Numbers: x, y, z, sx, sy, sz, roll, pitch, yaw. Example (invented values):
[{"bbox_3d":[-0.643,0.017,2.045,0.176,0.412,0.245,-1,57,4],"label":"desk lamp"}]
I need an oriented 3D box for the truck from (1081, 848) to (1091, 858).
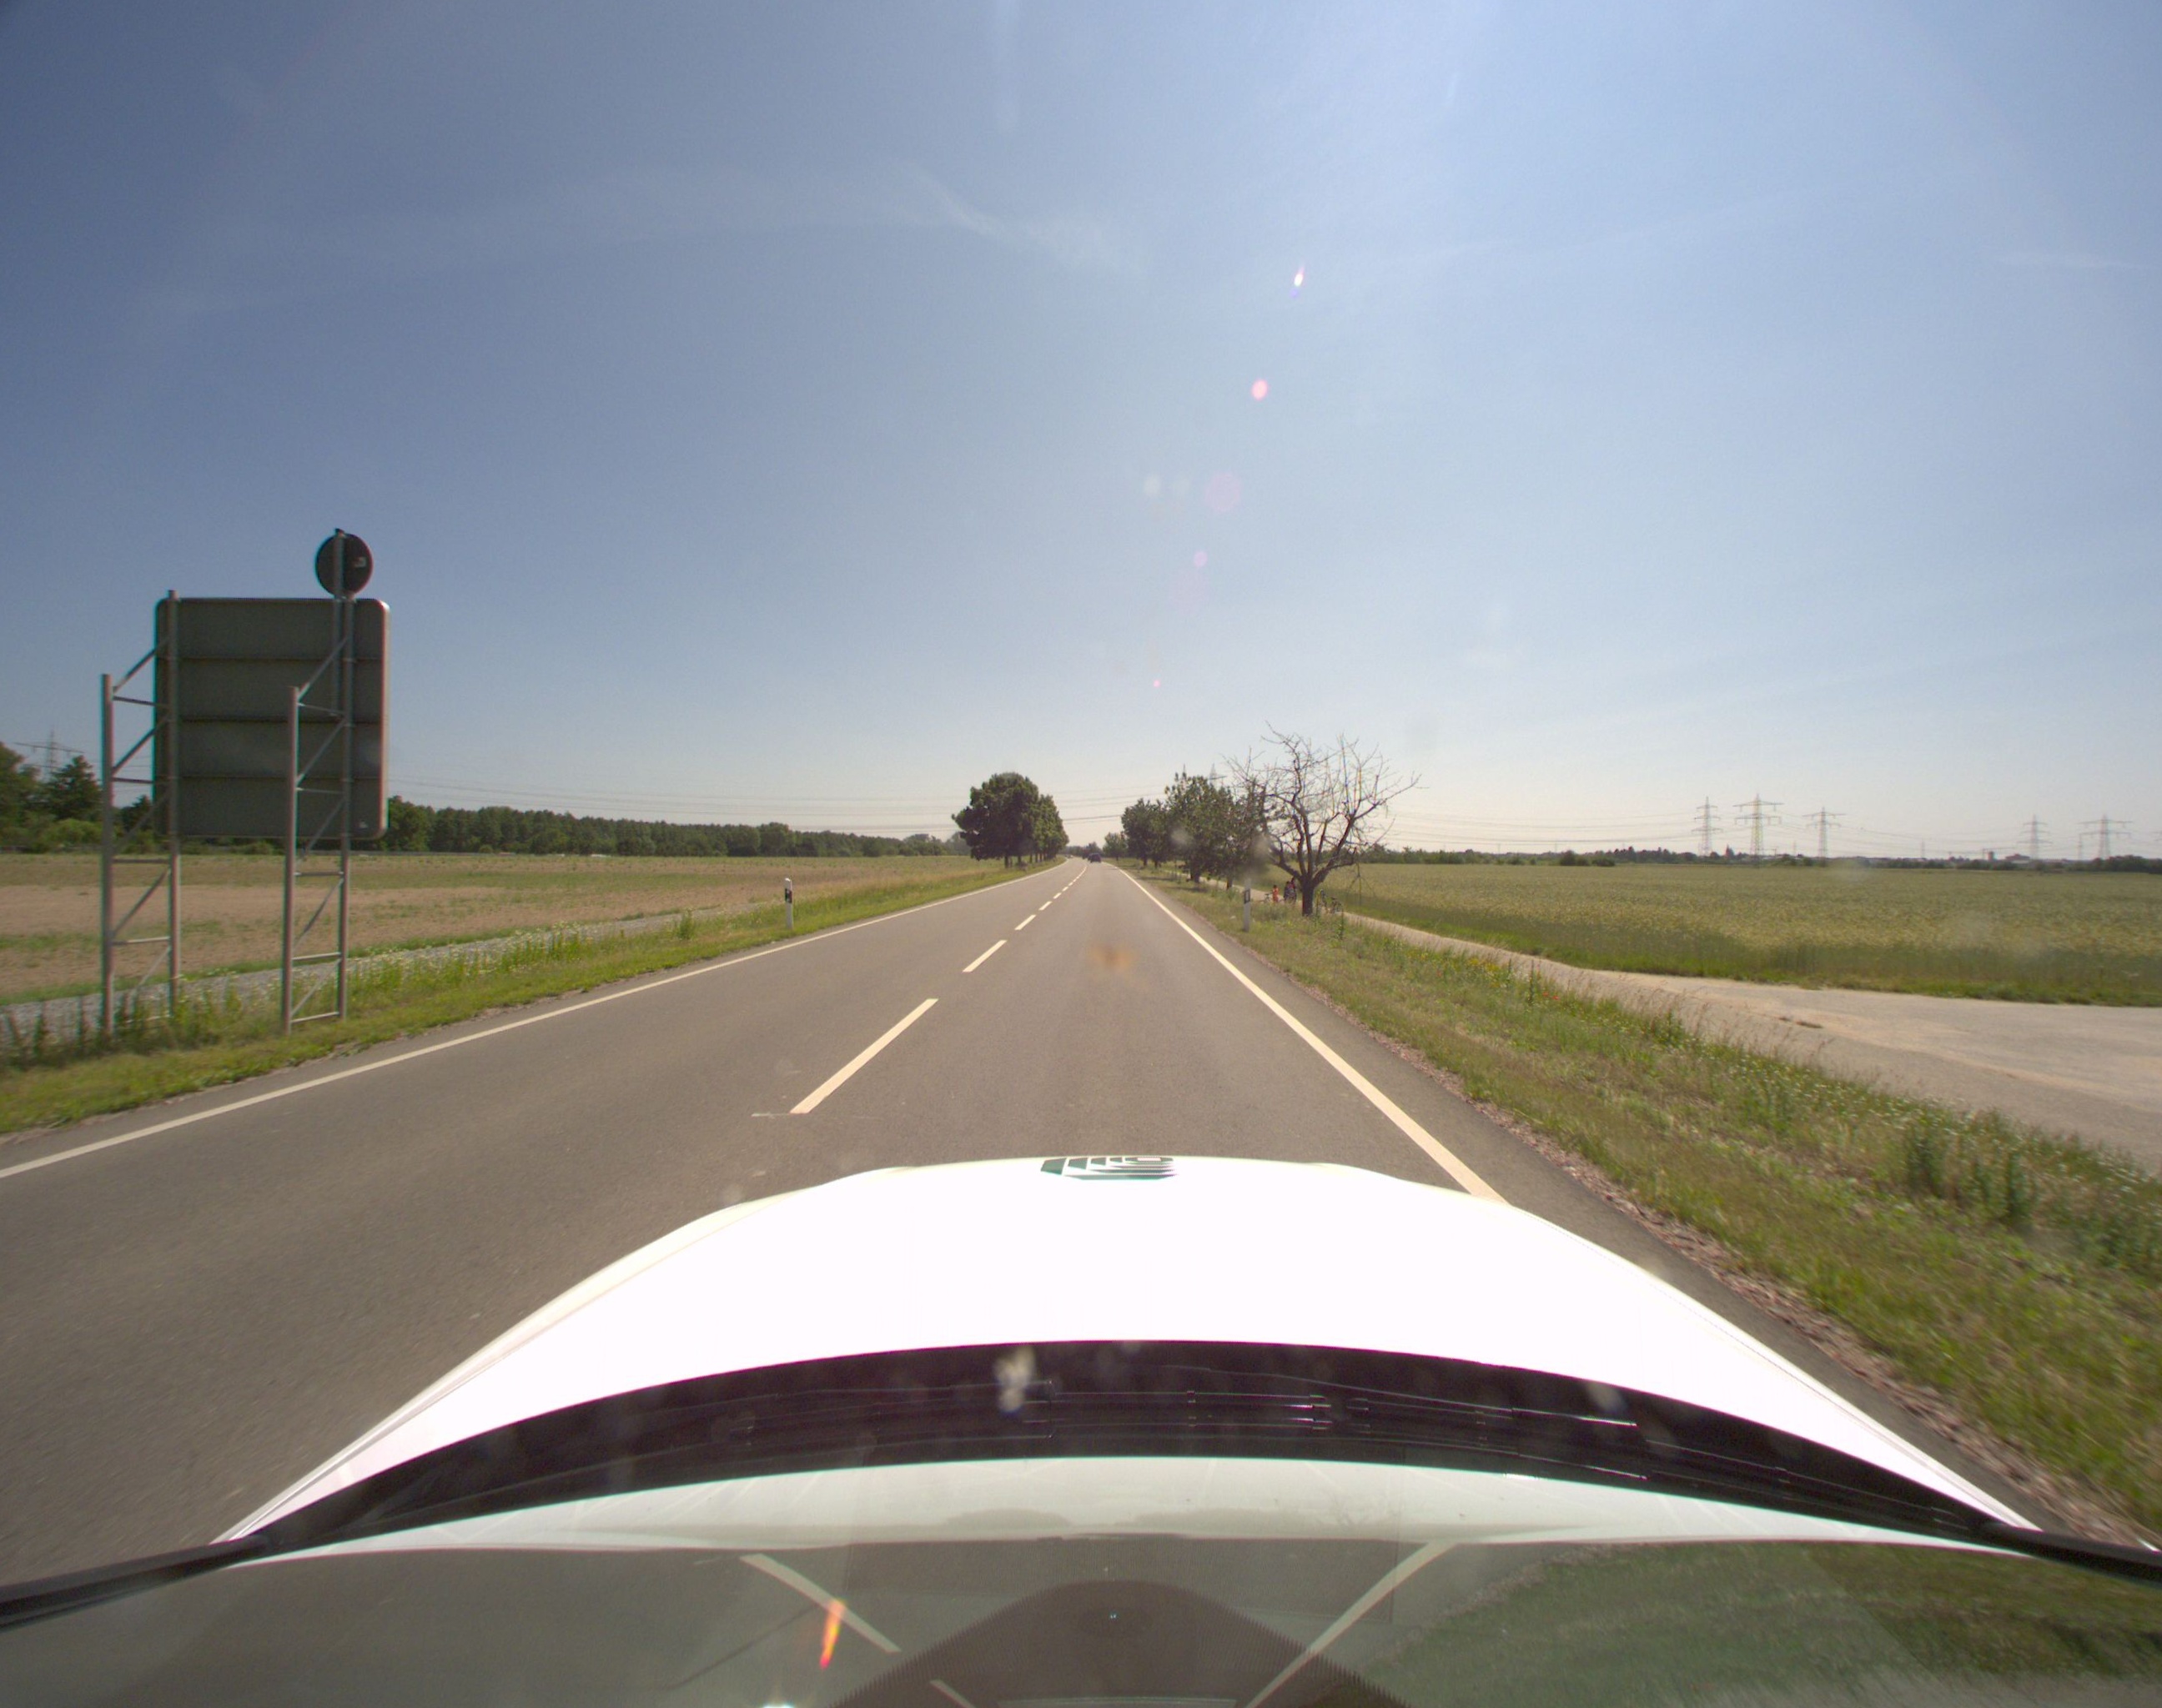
[{"bbox_3d":[1.605,-0.385,251.484,2.366,3.140,8.734,1,0,-4],"label":"truck"}]

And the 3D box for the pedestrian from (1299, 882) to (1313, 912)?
[{"bbox_3d":[10.244,1.953,37.103,0.444,1.295,0.481,0,0,-44],"label":"pedestrian"}]

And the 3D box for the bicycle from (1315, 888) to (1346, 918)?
[{"bbox_3d":[10.409,2.027,34.041,0.476,1.165,1.675,0,0,-13],"label":"bicycle"}]

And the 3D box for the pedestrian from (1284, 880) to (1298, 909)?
[{"bbox_3d":[9.831,1.904,38.047,0.481,1.314,0.445,0,0,44],"label":"pedestrian"}]

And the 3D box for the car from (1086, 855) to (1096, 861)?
[{"bbox_3d":[2.278,0.926,186.824,1.847,1.523,3.995,0,0,-4],"label":"car"}]

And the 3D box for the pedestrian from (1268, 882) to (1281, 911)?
[{"bbox_3d":[8.763,1.915,36.972,0.440,1.295,0.486,0,0,-6],"label":"pedestrian"}]

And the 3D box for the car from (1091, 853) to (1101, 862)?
[{"bbox_3d":[2.712,0.639,146.786,1.709,1.694,3.988,0,0,1],"label":"car"}]

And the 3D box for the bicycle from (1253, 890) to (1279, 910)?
[{"bbox_3d":[8.522,2.122,37.546,1.105,0.860,0.445,0,0,38],"label":"bicycle"}]

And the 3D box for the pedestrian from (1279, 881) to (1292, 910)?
[{"bbox_3d":[9.461,1.915,37.628,0.481,1.295,0.445,0,0,34],"label":"pedestrian"}]
